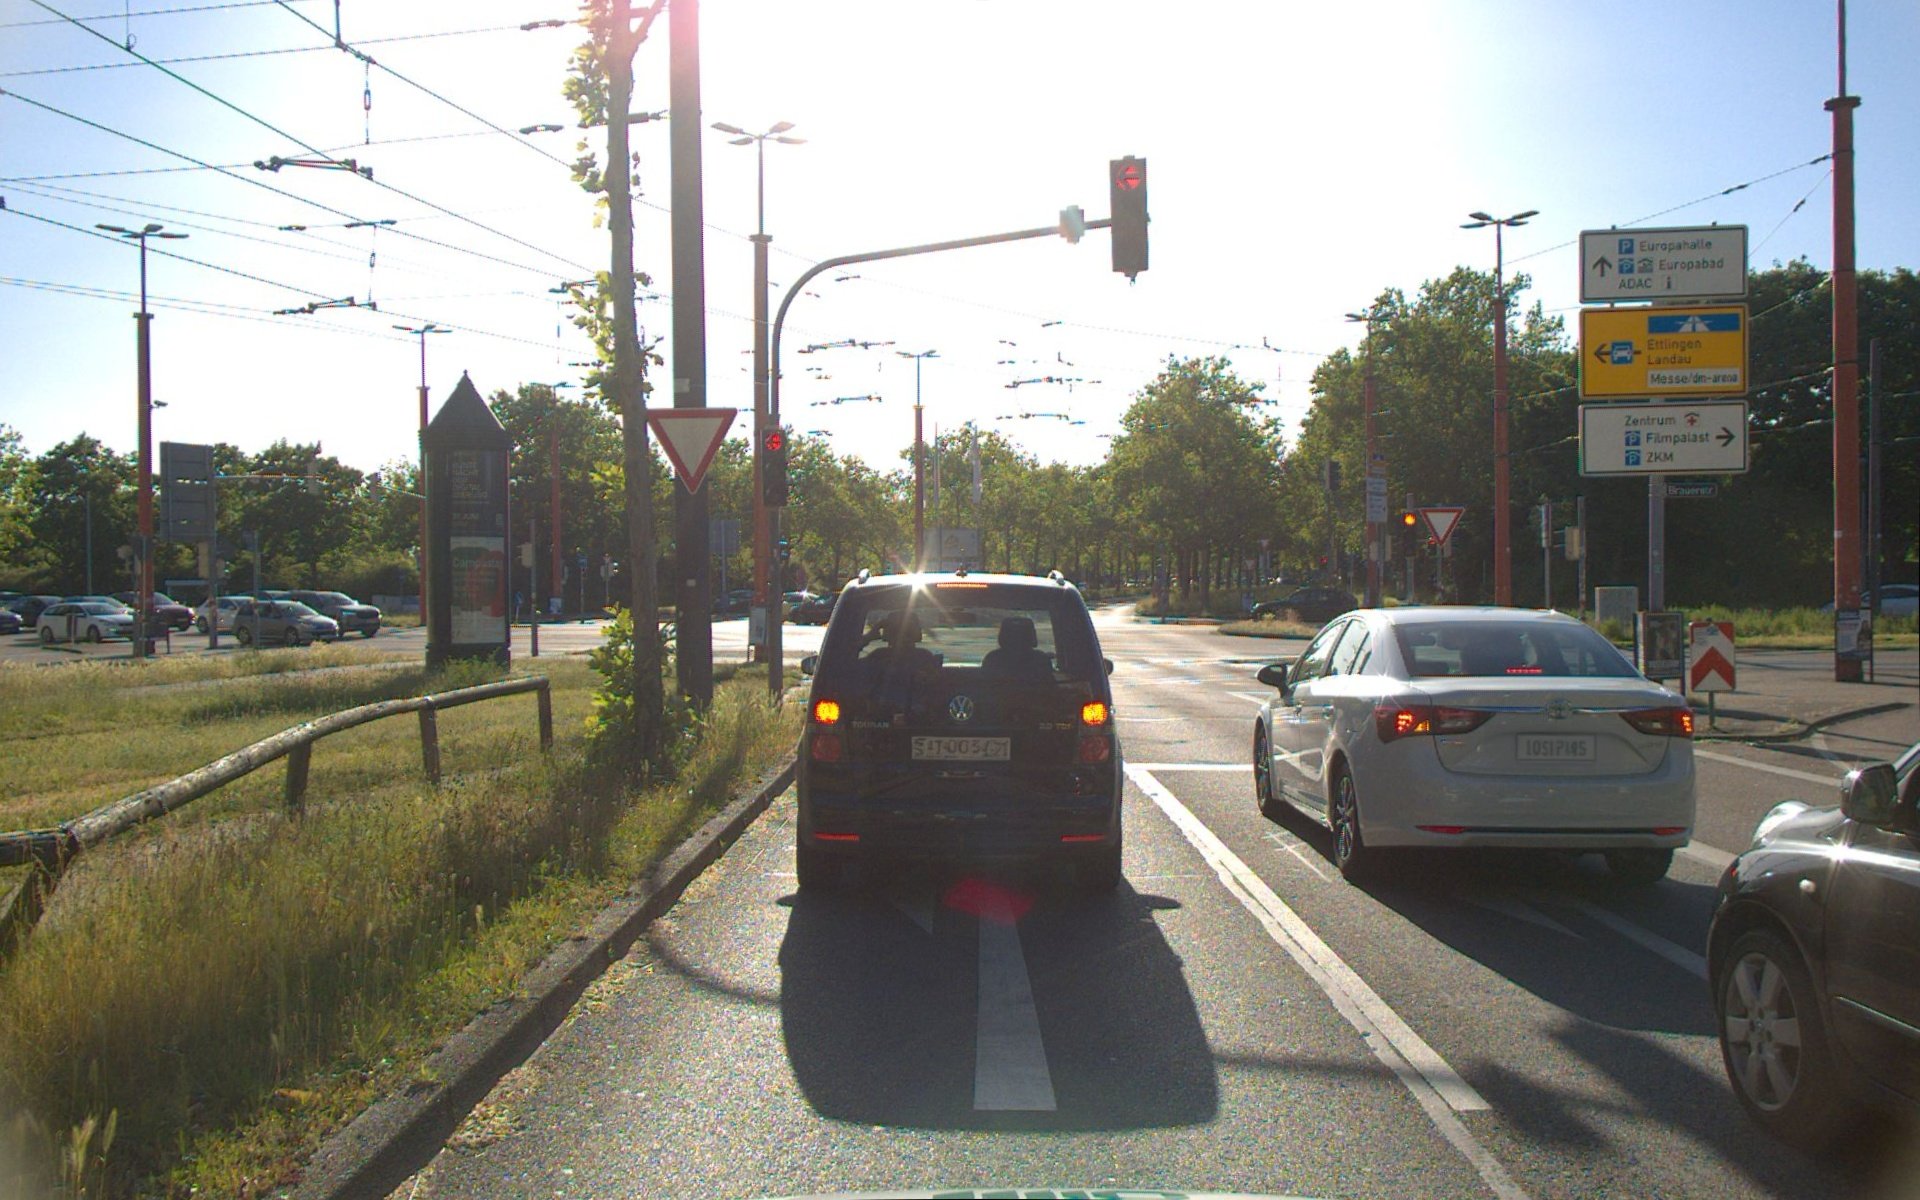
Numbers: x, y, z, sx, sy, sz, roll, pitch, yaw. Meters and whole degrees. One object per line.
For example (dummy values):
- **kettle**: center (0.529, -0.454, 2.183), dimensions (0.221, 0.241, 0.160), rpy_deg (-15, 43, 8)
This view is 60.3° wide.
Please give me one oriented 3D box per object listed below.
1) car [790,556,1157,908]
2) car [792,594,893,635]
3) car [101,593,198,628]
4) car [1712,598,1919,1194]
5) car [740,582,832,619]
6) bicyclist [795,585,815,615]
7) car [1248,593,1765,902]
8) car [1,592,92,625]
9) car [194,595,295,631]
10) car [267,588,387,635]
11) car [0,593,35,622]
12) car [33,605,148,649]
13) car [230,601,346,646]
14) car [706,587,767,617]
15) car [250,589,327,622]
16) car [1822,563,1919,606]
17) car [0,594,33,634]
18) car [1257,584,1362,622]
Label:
- **car**: center (0.076, 0.631, 9.954), dimensions (1.703, 1.630, 4.326), rpy_deg (1, 0, 0)
- **car**: center (-5.118, 0.601, 72.189), dimensions (4.119, 1.710, 1.656), rpy_deg (0, 0, 24)
- **car**: center (-34.616, 0.449, 70.629), dimensions (4.060, 1.440, 1.542), rpy_deg (0, 0, 26)
- **car**: center (3.145, 0.738, 3.479), dimensions (1.544, 1.465, 3.441), rpy_deg (1, 0, 0)
- **car**: center (-8.248, 0.029, 78.370), dimensions (4.120, 1.710, 1.655), rpy_deg (0, 0, 26)
- **bicyclist**: center (-9.873, 0.000, 105.282), dimensions (0.955, 1.937, 1.051), rpy_deg (0, 0, 12)
- **car**: center (3.024, 0.725, 10.175), dimensions (1.762, 1.465, 4.326), rpy_deg (1, 0, 0)
- **car**: center (-40.855, 0.352, 73.990), dimensions (4.060, 1.440, 1.542), rpy_deg (0, 0, 26)
- **car**: center (-29.389, 0.520, 67.921), dimensions (4.060, 1.440, 1.542), rpy_deg (0, 0, 26)
- **car**: center (-23.465, 0.417, 61.280), dimensions (4.541, 1.676, 1.654), rpy_deg (0, 0, 30)
- **car**: center (-57.169, 0.439, 98.211), dimensions (4.568, 1.654, 1.655), rpy_deg (0, 0, 26)
- **car**: center (-32.620, 0.977, 62.049), dimensions (4.536, 1.546, 1.654), rpy_deg (0, 0, 30)
- **car**: center (-23.049, 0.778, 56.708), dimensions (3.755, 1.466, 1.655), rpy_deg (0, 0, 27)
- **car**: center (-13.548, 0.127, 100.465), dimensions (1.619, 1.780, 4.128), rpy_deg (0, 0, 27)
- **car**: center (-37.825, 0.283, 93.192), dimensions (4.034, 1.780, 1.656), rpy_deg (0, 0, 22)
- **car**: center (32.310, -0.550, 57.753), dimensions (3.837, 1.483, 1.655), rpy_deg (0, 0, 26)
- **car**: center (-41.977, 0.574, 70.959), dimensions (4.541, 1.676, 1.753), rpy_deg (0, 0, 30)
- **car**: center (14.102, 0.124, 66.778), dimensions (3.839, 1.483, 1.654), rpy_deg (0, 0, 29)
